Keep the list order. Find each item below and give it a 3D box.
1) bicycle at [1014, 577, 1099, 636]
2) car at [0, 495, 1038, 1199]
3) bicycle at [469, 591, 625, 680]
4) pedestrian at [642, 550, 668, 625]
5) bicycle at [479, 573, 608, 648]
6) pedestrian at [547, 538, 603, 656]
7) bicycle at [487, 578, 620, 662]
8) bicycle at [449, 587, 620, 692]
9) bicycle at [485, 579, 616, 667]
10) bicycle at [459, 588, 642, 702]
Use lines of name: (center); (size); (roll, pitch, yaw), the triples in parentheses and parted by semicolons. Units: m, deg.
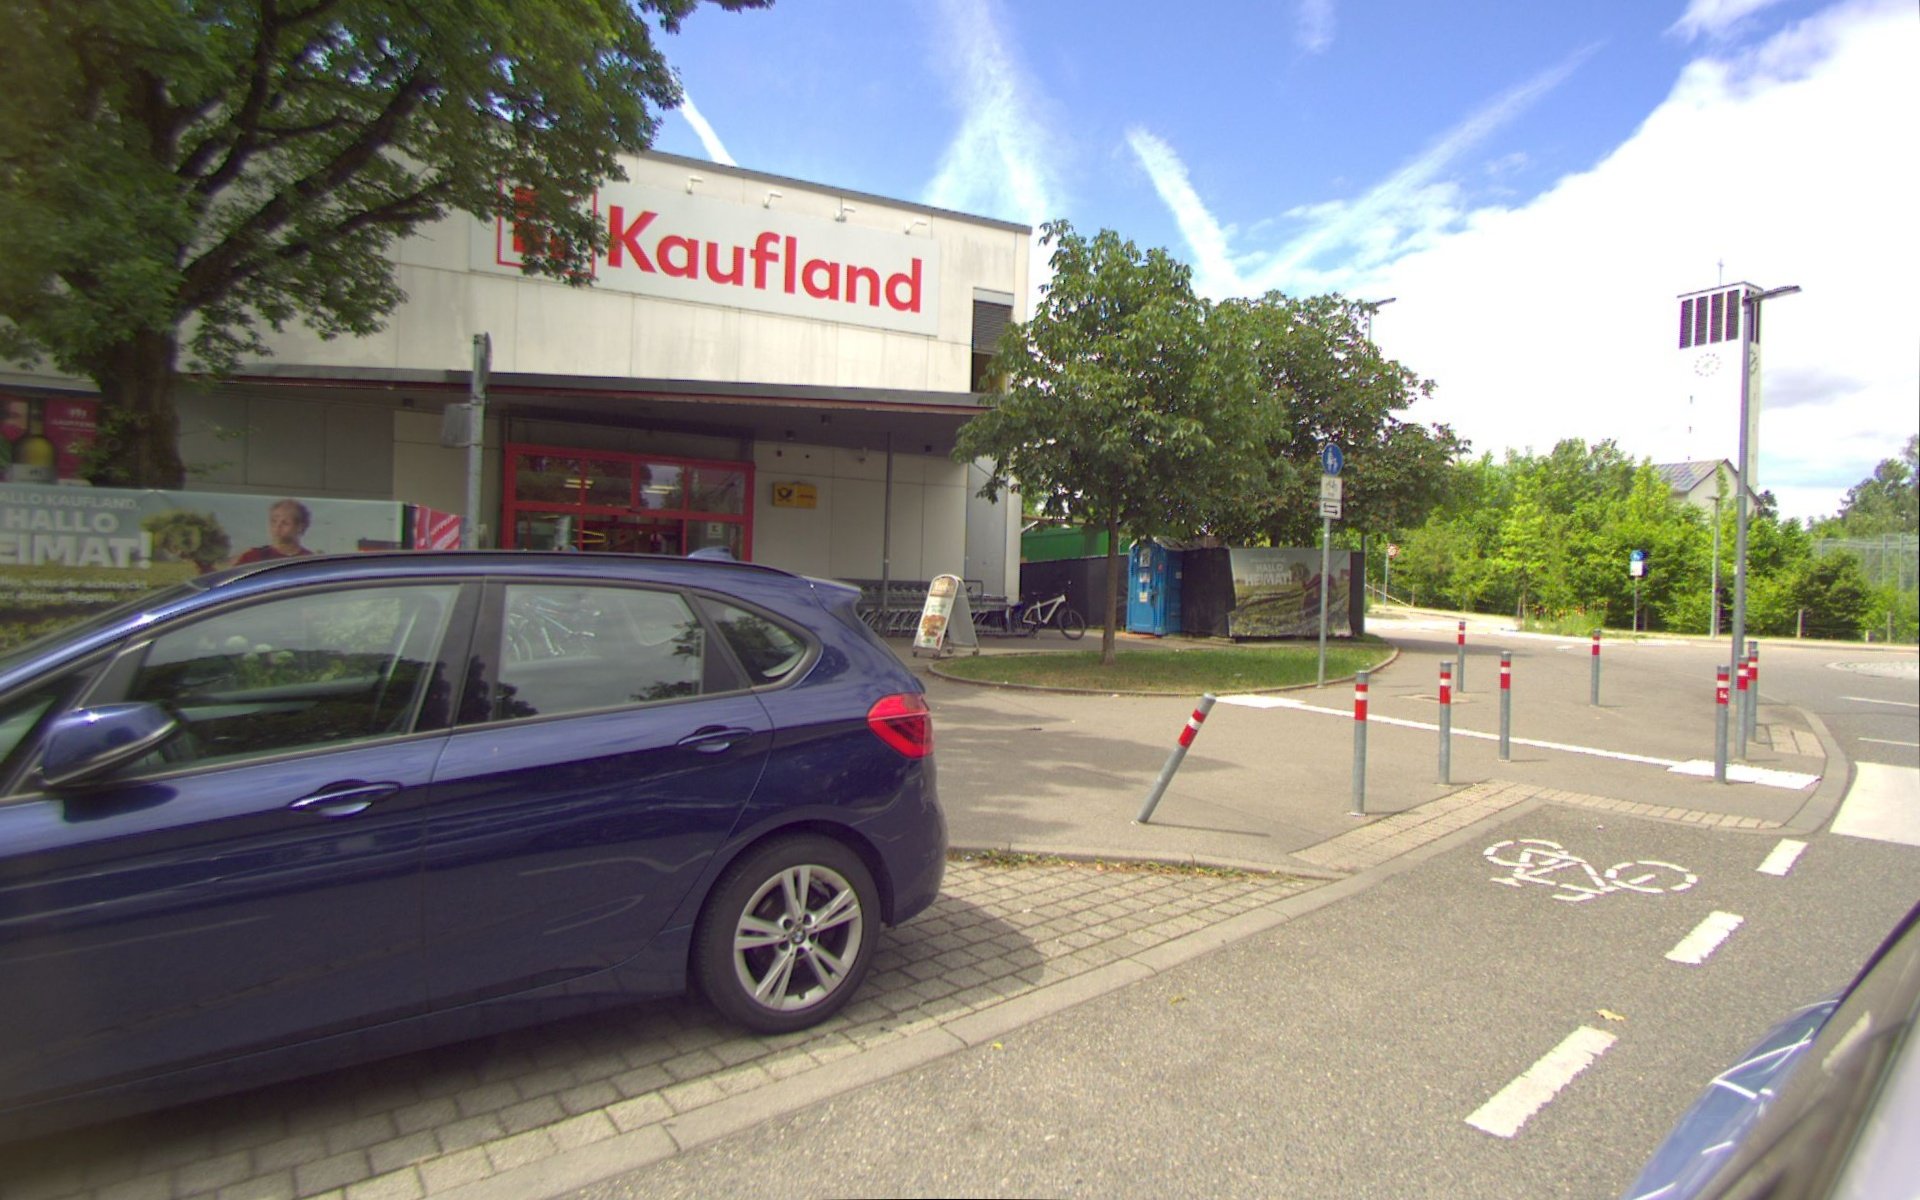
bicycle: (2.130, 0.122, 22.451); (1.760, 1.249, 0.706); (1, 0, 34)
car: (-2.062, 0.525, 3.366); (4.344, 1.597, 1.924); (0, 2, -34)
bicycle: (-5.183, 0.426, 12.742); (1.764, 1.053, 0.522); (0, 1, -29)
pedestrian: (-6.620, -0.271, 21.984); (0.485, 1.586, 0.628); (1, 1, -21)
bicycle: (-6.638, 0.162, 16.219); (1.873, 1.170, 0.531); (0, 0, -19)
pedestrian: (-5.939, -0.064, 15.635); (0.732, 1.778, 0.626); (1, 3, -16)
bicycle: (-5.810, 0.277, 14.502); (1.730, 1.170, 0.441); (0, 0, -23)
bicycle: (-4.866, 0.444, 11.653); (1.737, 1.170, 0.502); (1, 0, -7)
bicycle: (-5.583, 0.308, 13.860); (1.627, 1.170, 0.427); (0, 0, -22)
bicycle: (-4.341, 0.465, 10.812); (1.753, 1.170, 0.452); (1, 0, -11)
